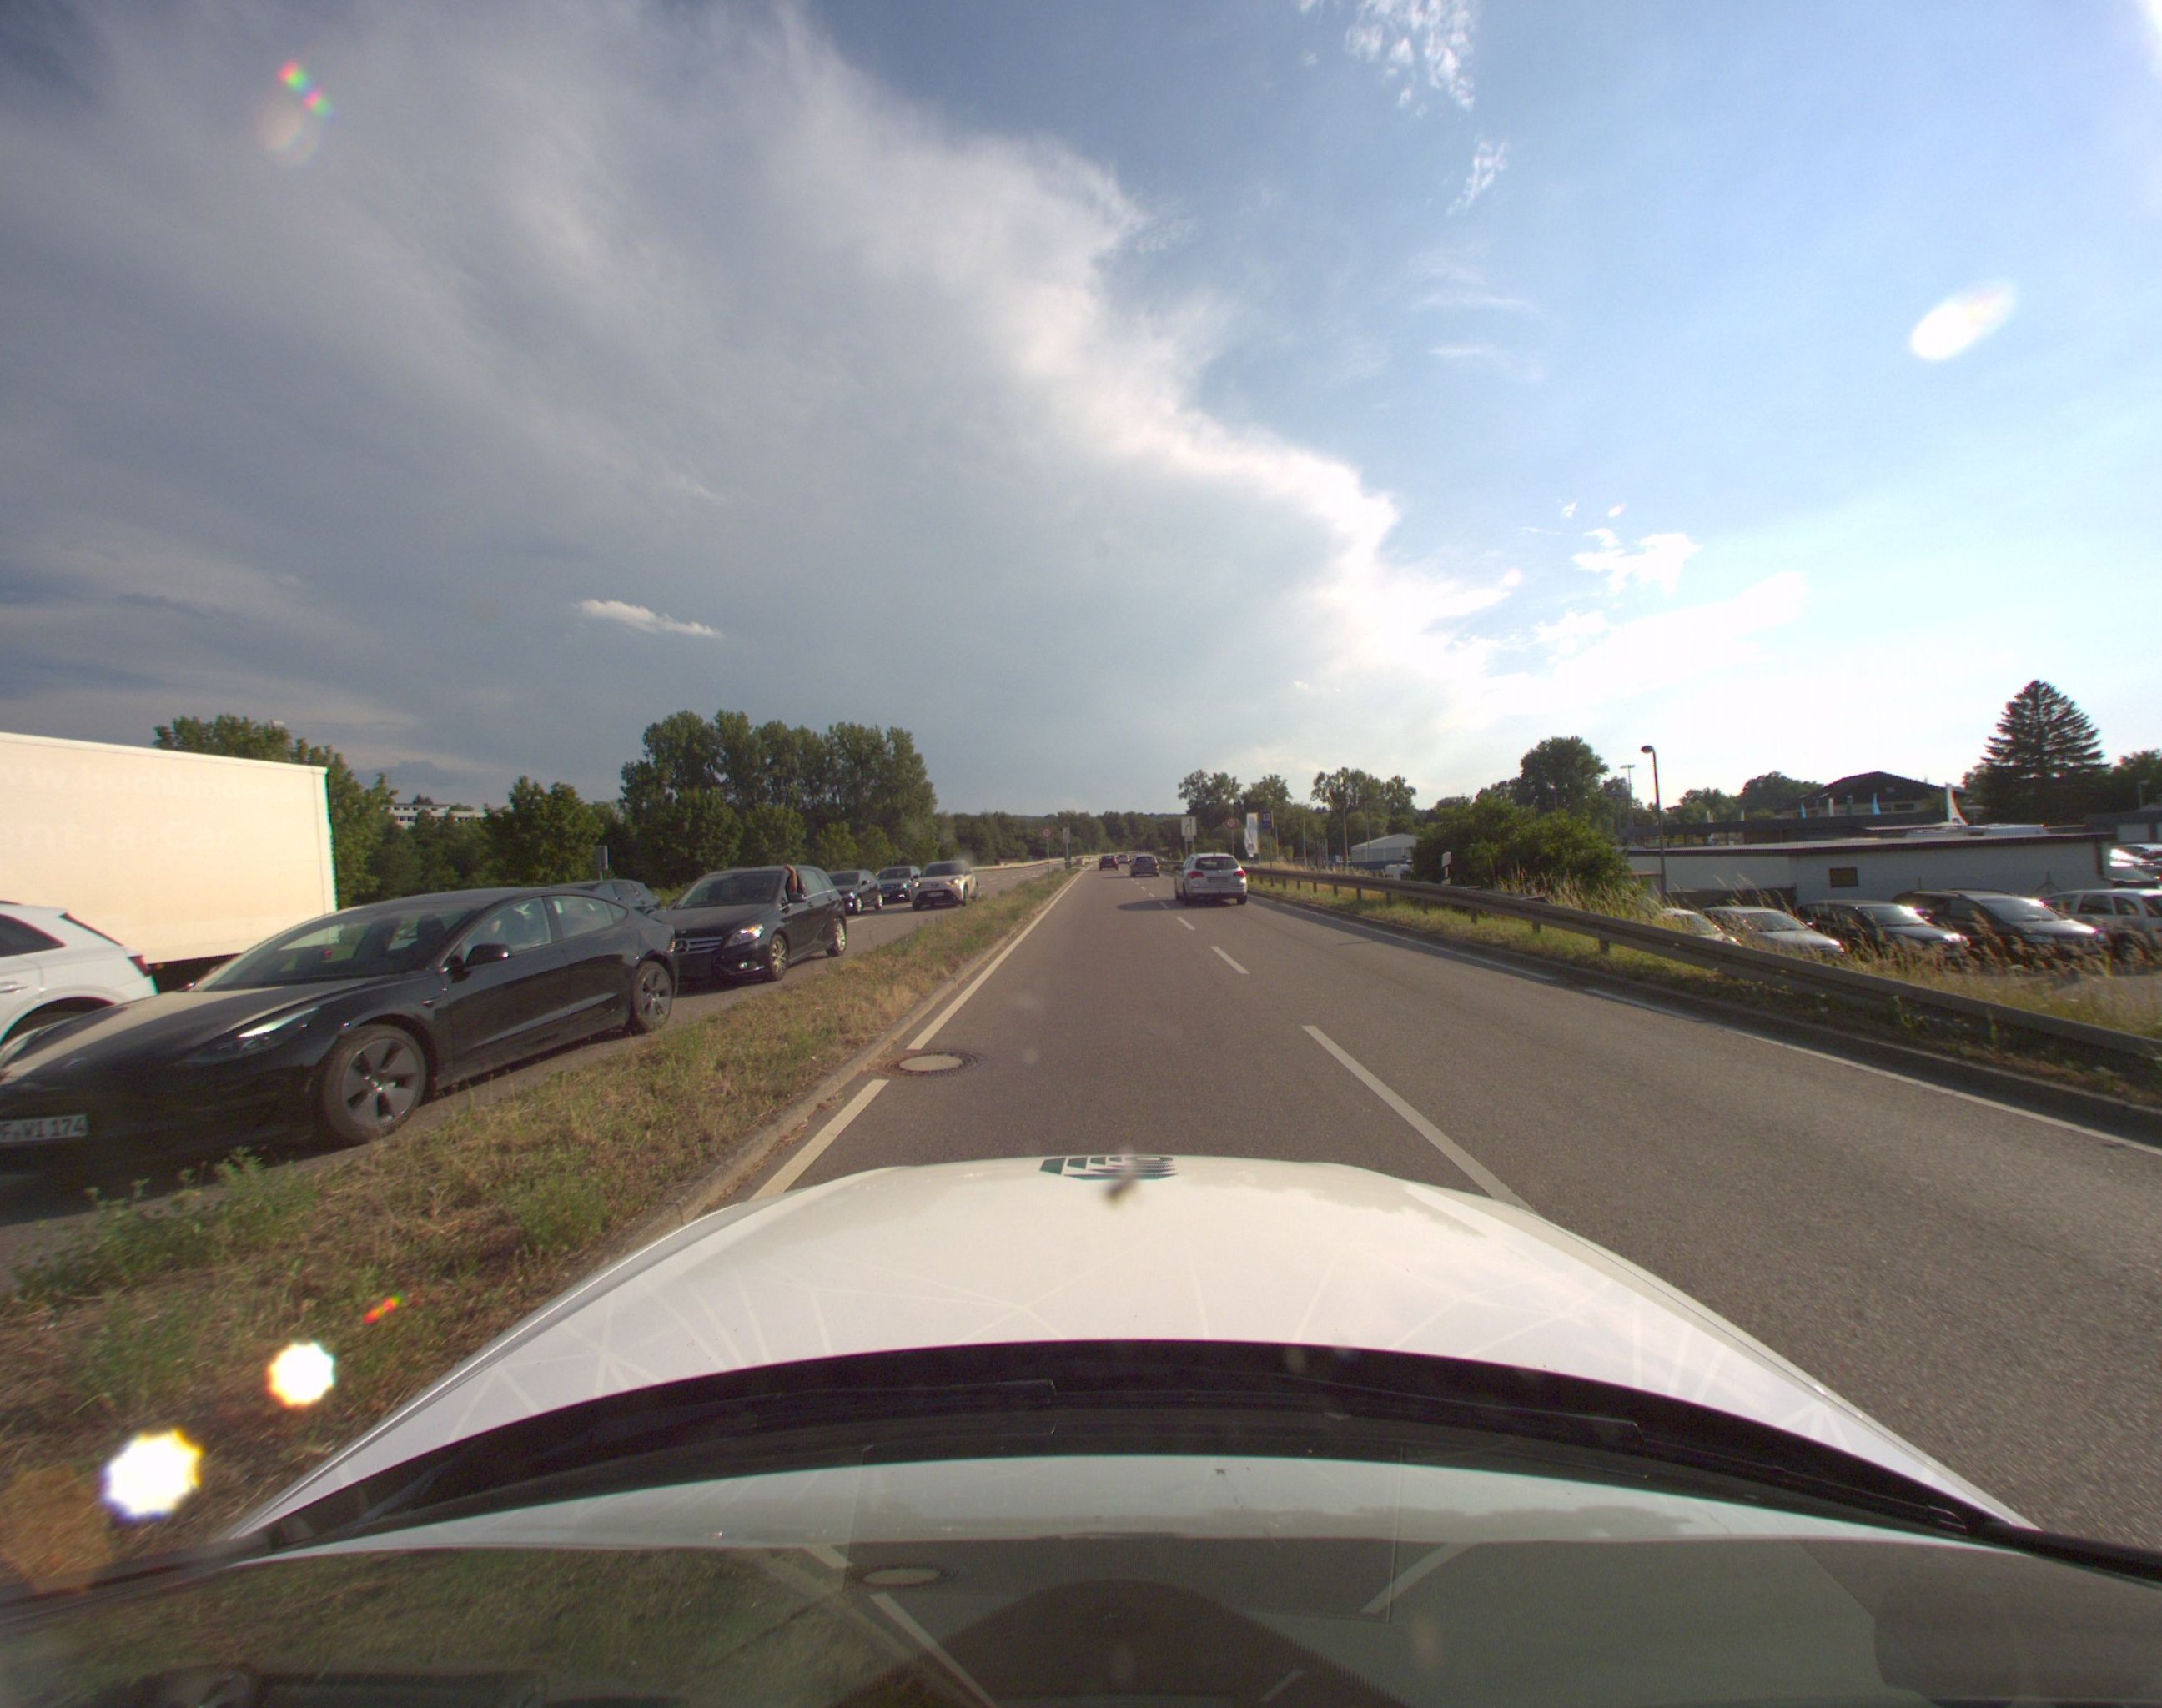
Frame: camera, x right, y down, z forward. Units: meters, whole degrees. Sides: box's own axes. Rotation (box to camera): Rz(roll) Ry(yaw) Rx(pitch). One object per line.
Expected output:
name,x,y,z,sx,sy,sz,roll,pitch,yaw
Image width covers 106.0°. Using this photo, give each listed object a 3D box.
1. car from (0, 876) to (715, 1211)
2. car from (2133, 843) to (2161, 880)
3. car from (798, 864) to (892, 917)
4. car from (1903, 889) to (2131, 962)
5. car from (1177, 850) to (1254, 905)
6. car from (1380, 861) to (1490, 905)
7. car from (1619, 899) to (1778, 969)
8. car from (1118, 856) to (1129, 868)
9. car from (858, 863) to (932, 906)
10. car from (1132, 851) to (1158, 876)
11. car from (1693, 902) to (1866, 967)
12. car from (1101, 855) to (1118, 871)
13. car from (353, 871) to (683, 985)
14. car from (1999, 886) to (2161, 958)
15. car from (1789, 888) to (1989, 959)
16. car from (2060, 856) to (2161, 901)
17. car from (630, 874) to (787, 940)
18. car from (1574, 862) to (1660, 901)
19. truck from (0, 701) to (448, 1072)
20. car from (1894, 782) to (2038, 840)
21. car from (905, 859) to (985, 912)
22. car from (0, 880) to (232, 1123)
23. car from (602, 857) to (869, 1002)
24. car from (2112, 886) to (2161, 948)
car,-4.860,0.961,6.258,1.784,1.466,4.929,-3,-1,0
car,47.944,0.293,34.275,1.728,1.629,4.164,0,-1,-21
car,-7.702,1.135,27.002,1.696,1.473,4.245,-5,-1,1
car,22.200,1.647,19.545,1.521,1.485,3.590,-1,-1,5
car,3.923,0.674,24.347,1.802,1.486,4.002,-1,-1,3
car,15.279,1.260,35.290,3.969,1.816,1.837,-1,-1,4
car,15.642,1.972,20.857,1.521,1.485,3.589,-1,-1,4
car,5.731,1.107,109.102,1.486,1.476,3.361,-1,-1,3
car,-7.466,1.172,33.134,1.709,1.464,4.728,-4,0,2
car,4.123,0.617,52.971,1.660,1.574,4.003,0,-1,3
car,17.645,1.984,20.803,1.521,1.371,3.589,-1,-1,4
car,2.721,0.855,76.305,1.486,1.476,3.361,-1,-1,3
car,-8.697,1.035,13.316,1.696,1.405,5.082,-3,-1,1
car,24.874,1.566,19.695,1.520,1.485,3.592,-1,-1,7
car,19.747,1.642,20.131,1.521,1.485,3.589,-1,-1,4
car,37.994,0.837,28.583,1.746,1.566,4.835,-1,-1,6
car,-9.436,1.279,21.151,1.696,1.283,4.820,-4,0,1
car,28.211,1.415,43.091,1.746,1.952,4.835,-1,-1,6
truck,-12.191,0.411,8.102,2.921,3.690,10.506,-5,-1,3
car,44.682,-2.084,41.344,1.746,2.549,5.478,-1,-1,6
car,-4.426,1.017,27.105,1.774,1.520,4.001,-4,-1,2
car,-8.591,1.078,4.811,1.986,1.678,4.808,-3,-1,1
car,-4.740,0.921,12.052,1.774,1.537,4.573,-3,1,2
car,26.965,1.532,18.991,1.520,1.485,3.592,-1,-1,7
